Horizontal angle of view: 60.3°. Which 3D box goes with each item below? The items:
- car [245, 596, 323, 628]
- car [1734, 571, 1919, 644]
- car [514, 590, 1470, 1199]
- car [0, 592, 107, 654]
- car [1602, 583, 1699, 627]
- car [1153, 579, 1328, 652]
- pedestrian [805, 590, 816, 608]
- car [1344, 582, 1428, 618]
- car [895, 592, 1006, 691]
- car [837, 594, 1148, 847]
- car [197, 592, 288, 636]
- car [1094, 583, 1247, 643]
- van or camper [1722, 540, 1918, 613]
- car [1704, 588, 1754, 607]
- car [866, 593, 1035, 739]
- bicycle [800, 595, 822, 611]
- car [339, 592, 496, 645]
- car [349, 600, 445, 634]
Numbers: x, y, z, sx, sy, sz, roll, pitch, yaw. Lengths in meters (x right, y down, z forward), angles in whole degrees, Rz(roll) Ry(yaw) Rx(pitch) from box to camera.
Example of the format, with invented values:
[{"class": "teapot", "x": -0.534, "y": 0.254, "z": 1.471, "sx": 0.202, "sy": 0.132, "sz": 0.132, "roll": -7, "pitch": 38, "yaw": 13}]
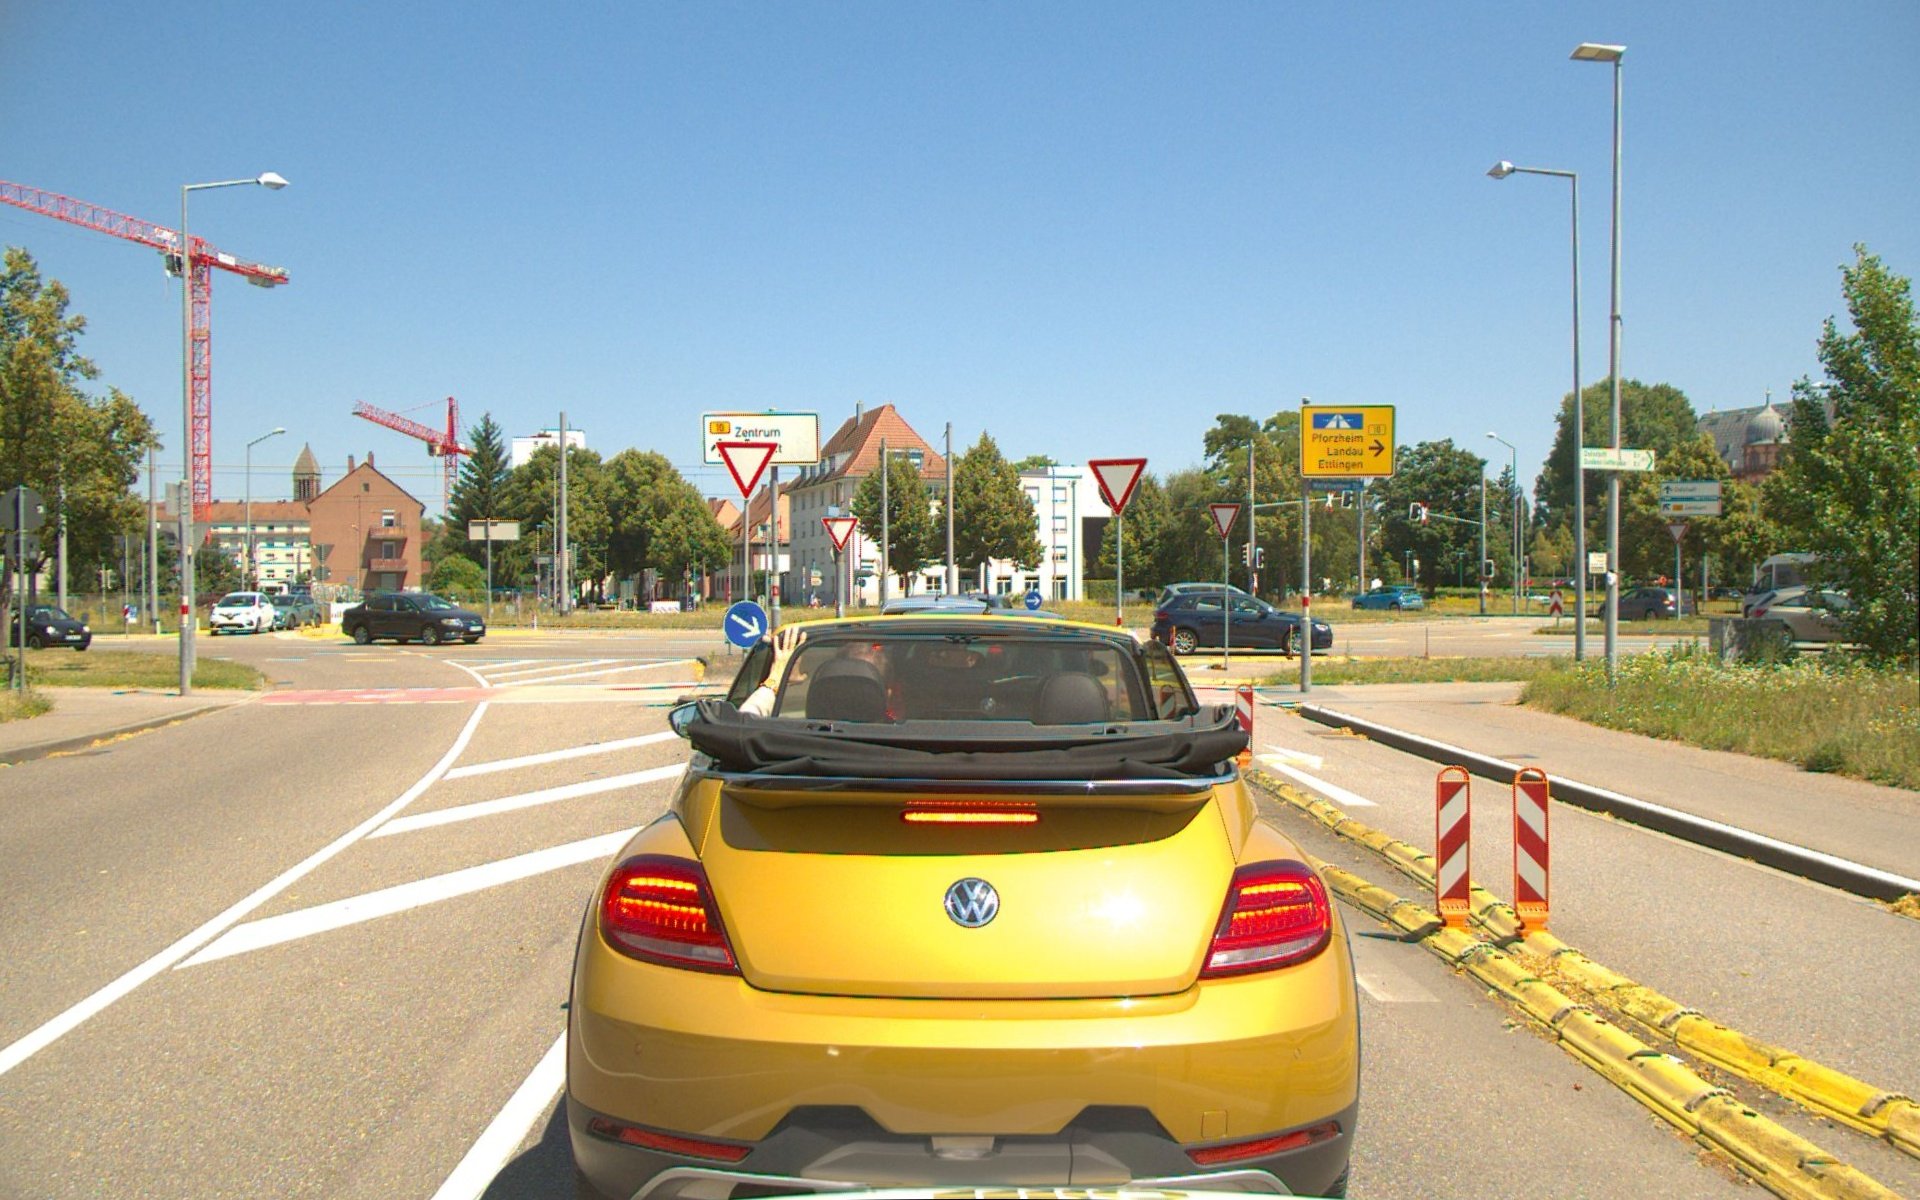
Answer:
[{"class": "car", "x": -27.809, "y": 0.489, "z": 68.144, "sx": 1.672, "sy": 1.258, "sz": 3.786, "roll": 0, "pitch": 0, "yaw": -1}, {"class": "car", "x": 21.151, "y": 0.198, "z": 40.318, "sx": 3.904, "sy": 1.522, "sz": 1.648, "roll": -4, "pitch": -1, "yaw": 20}, {"class": "car", "x": 0.031, "y": 0.710, "z": 4.863, "sx": 1.717, "sy": 1.447, "sz": 3.776, "roll": 0, "pitch": 0, "yaw": -1}, {"class": "car", "x": -28.499, "y": 0.689, "z": 51.712, "sx": 3.928, "sy": 1.847, "sz": 1.988, "roll": 0, "pitch": 0, "yaw": 41}, {"class": "car", "x": 26.340, "y": 0.186, "z": 63.103, "sx": 3.163, "sy": 1.634, "sz": 1.645, "roll": 0, "pitch": 0, "yaw": 36}, {"class": "car", "x": 6.497, "y": 0.350, "z": 38.672, "sx": 3.914, "sy": 1.648, "sz": 1.738, "roll": 0, "pitch": 0, "yaw": 6}, {"class": "pedestrian", "x": -10.576, "y": -0.098, "z": 116.874, "sx": 0.666, "sy": 1.252, "sz": 0.496, "roll": 0, "pitch": 0, "yaw": -19}, {"class": "car", "x": 22.767, "y": -0.004, "z": 88.486, "sx": 1.984, "sy": 1.870, "sz": 3.936, "roll": 0, "pitch": 0, "yaw": -43}, {"class": "car", "x": -0.176, "y": 0.637, "z": 27.485, "sx": 1.701, "sy": 1.503, "sz": 3.999, "roll": 0, "pitch": 0, "yaw": -1}, {"class": "car", "x": 0.167, "y": 0.704, "z": 11.675, "sx": 1.810, "sy": 1.467, "sz": 3.999, "roll": 0, "pitch": 0, "yaw": -1}, {"class": "car", "x": -26.976, "y": 0.511, "z": 62.317, "sx": 1.720, "sy": 1.576, "sz": 3.999, "roll": 0, "pitch": 0, "yaw": -1}, {"class": "car", "x": 5.469, "y": 0.328, "z": 43.274, "sx": 3.902, "sy": 1.522, "sz": 1.802, "roll": 0, "pitch": 0, "yaw": 5}, {"class": "van or camper", "x": 34.218, "y": -0.901, "z": 66.176, "sx": 2.466, "sy": 2.741, "sz": 7.475, "roll": 0, "pitch": 0, "yaw": -17}, {"class": "car", "x": 71.246, "y": -0.219, "z": 153.300, "sx": 3.923, "sy": 1.744, "sz": 1.991, "roll": 0, "pitch": 0, "yaw": -17}, {"class": "car", "x": -0.119, "y": 0.663, "z": 18.685, "sx": 1.701, "sy": 1.467, "sz": 3.999, "roll": 0, "pitch": 0, "yaw": -1}, {"class": "bicycle", "x": -10.546, "y": 0.196, "z": 116.884, "sx": 1.444, "sy": 1.090, "sz": 0.496, "roll": 0, "pitch": 0, "yaw": -20}, {"class": "car", "x": -15.803, "y": 0.509, "z": 48.138, "sx": 4.433, "sy": 1.472, "sz": 1.820, "roll": 0, "pitch": 0, "yaw": 29}, {"class": "car", "x": -26.542, "y": 0.779, "z": 78.051, "sx": 1.676, "sy": 1.526, "sz": 4.210, "roll": 0, "pitch": 0, "yaw": 32}]
